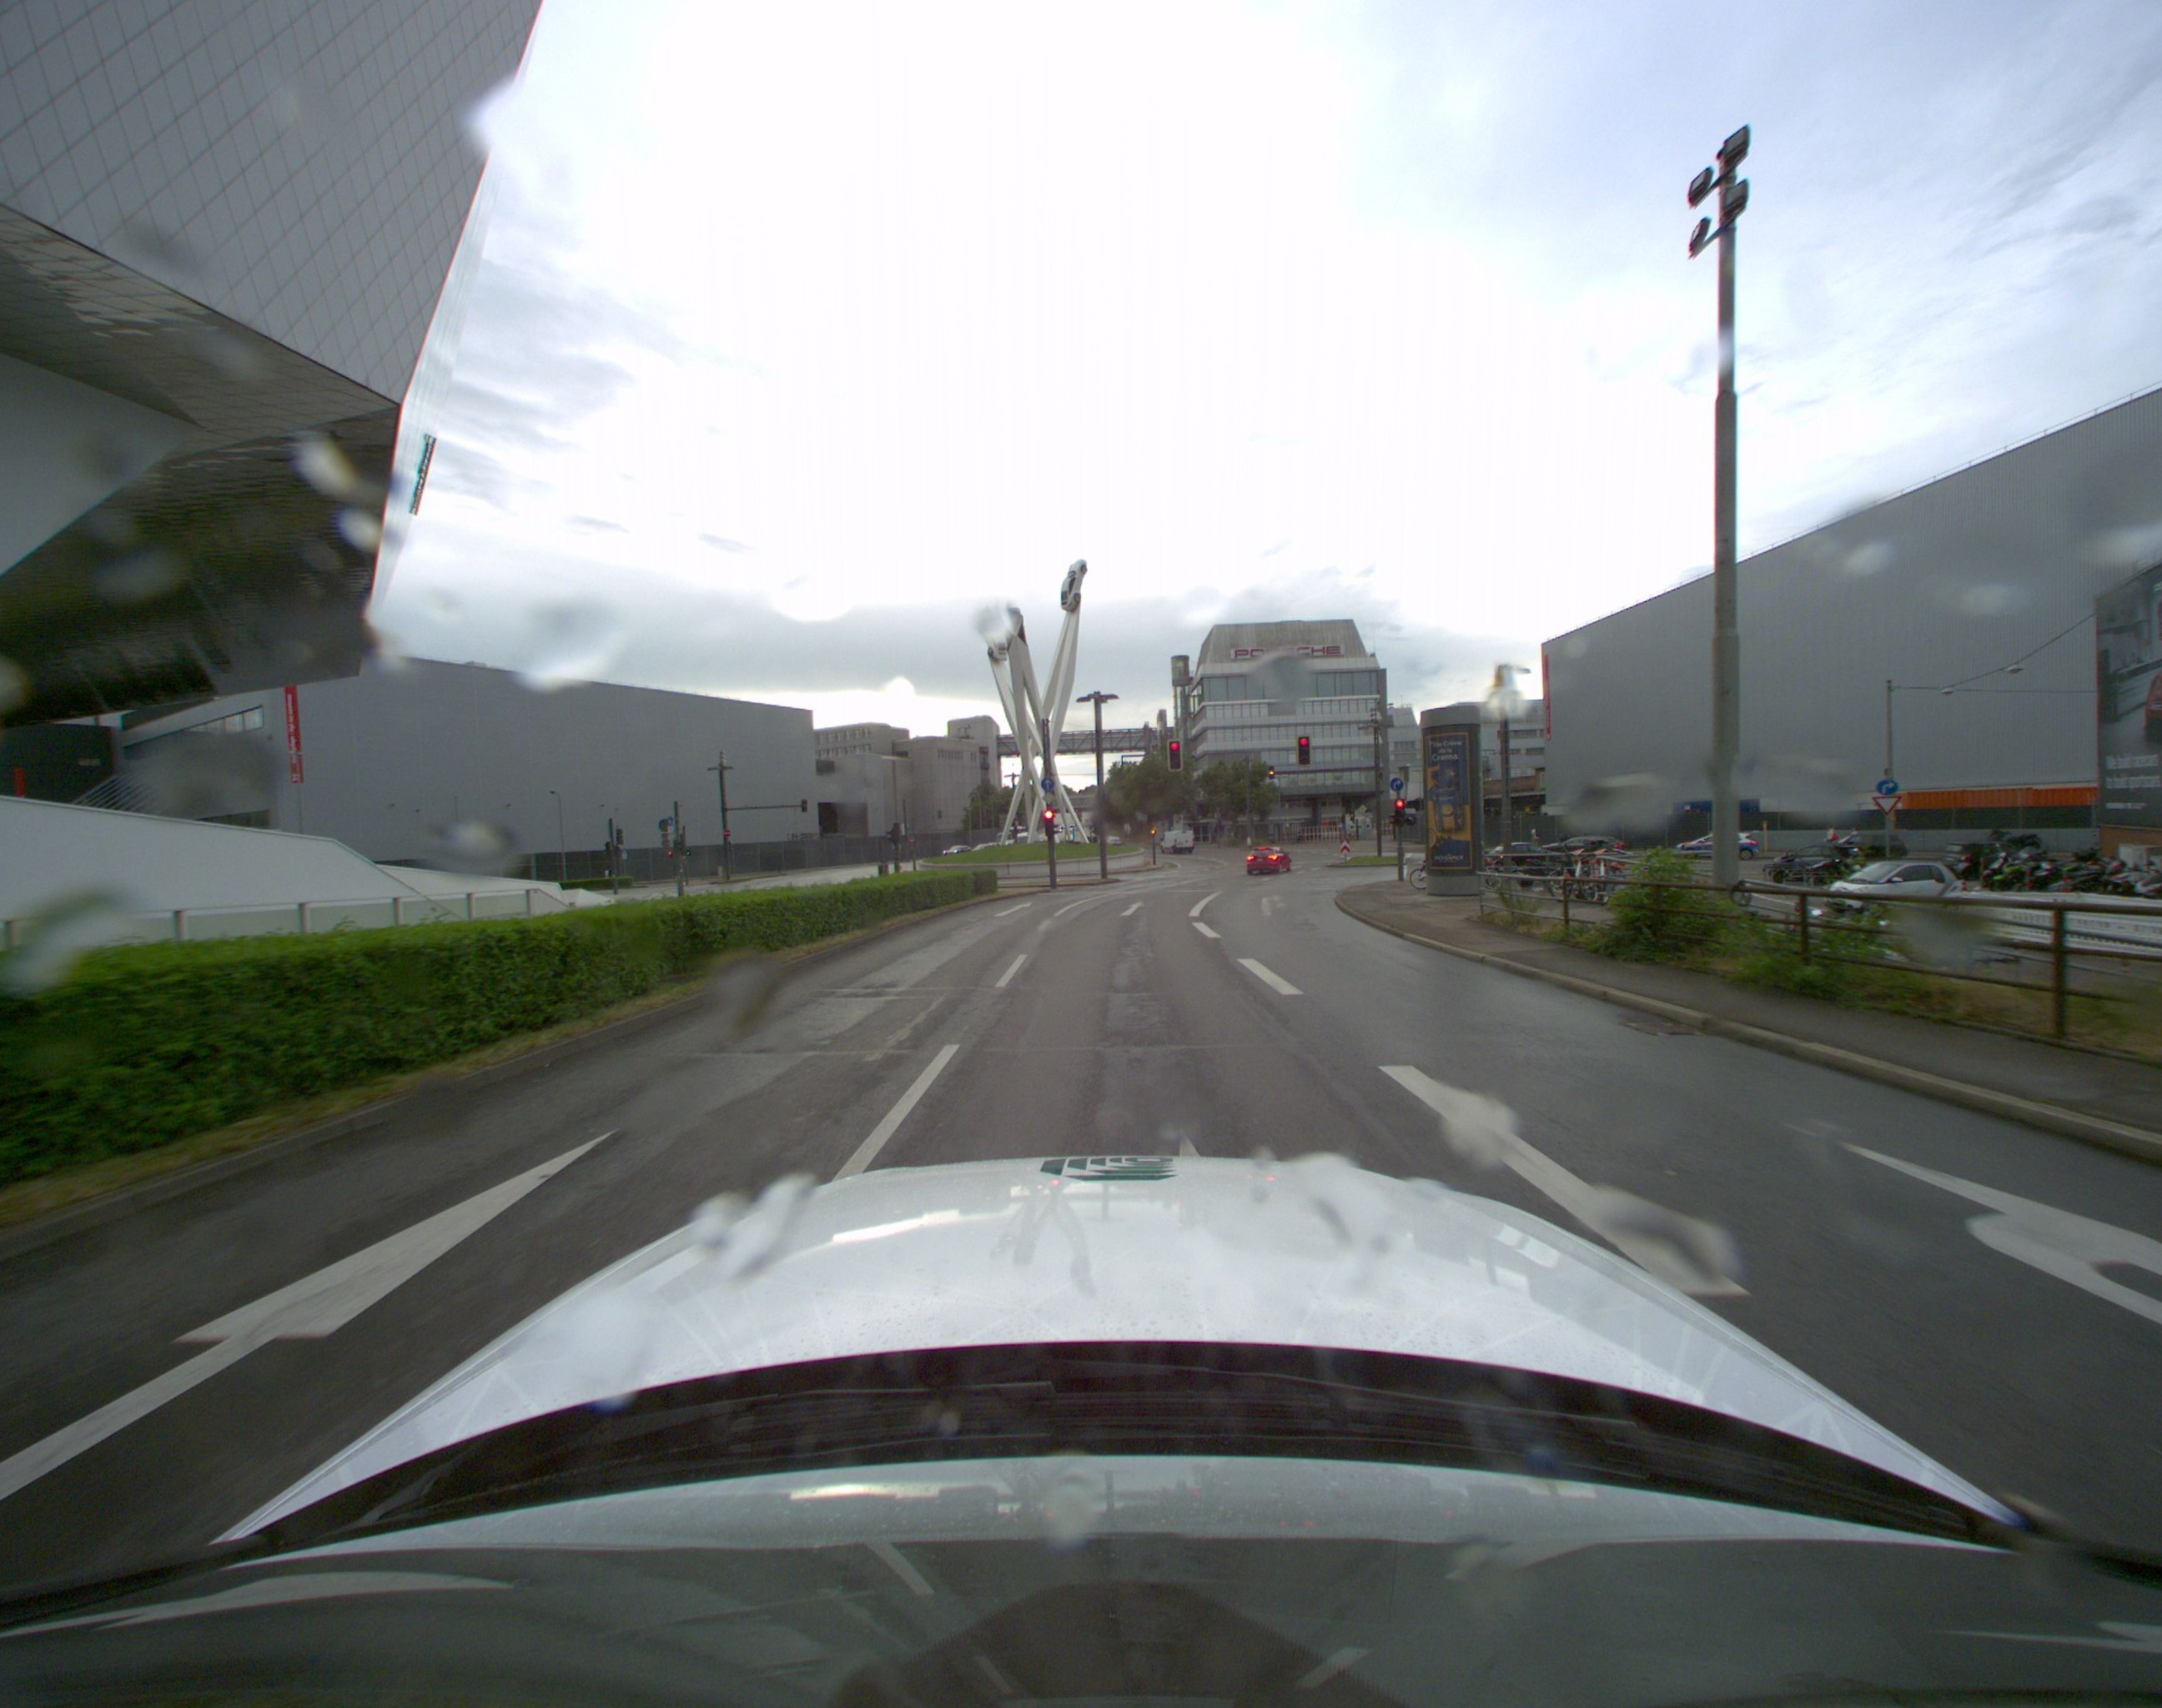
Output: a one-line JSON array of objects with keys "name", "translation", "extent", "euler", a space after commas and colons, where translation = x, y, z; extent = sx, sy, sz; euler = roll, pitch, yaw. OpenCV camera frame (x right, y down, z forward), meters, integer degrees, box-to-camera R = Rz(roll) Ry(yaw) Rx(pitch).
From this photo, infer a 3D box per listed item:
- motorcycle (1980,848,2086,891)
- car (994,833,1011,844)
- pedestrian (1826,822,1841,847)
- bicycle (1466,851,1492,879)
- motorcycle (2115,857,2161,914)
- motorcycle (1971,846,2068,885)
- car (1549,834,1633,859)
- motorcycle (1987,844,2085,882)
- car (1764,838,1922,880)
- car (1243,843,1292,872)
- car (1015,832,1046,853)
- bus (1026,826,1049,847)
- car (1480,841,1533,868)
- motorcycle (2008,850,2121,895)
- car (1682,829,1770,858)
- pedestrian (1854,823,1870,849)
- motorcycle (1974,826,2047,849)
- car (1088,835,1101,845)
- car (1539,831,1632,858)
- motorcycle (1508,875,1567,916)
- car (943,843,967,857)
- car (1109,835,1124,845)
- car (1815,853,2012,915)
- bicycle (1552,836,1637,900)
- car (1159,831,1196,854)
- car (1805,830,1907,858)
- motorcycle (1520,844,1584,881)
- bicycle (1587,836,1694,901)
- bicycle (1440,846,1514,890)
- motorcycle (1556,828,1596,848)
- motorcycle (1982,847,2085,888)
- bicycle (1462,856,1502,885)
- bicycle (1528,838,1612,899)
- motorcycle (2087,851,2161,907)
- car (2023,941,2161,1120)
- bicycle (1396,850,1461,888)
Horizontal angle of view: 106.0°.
[{"name": "motorcycle", "translation": [29.046, 0.487, 24.896], "extent": [1.997, 1.190, 0.613], "euler": [-3, 2, 43]}, {"name": "car", "translation": [-11.472, -2.269, 119.119], "extent": [1.825, 1.472, 4.518], "euler": [-2, 1, 3]}, {"name": "pedestrian", "translation": [44.779, -1.178, 48.470], "extent": [0.426, 1.481, 0.606], "euler": [-2, 1, -41]}, {"name": "bicycle", "translation": [16.736, 0.445, 34.256], "extent": [1.761, 1.097, 0.381], "euler": [-2, 0, -44]}, {"name": "motorcycle", "translation": [26.703, 0.733, 19.822], "extent": [1.850, 1.309, 0.576], "euler": [-4, 1, 19]}, {"name": "motorcycle", "translation": [30.752, 0.398, 26.733], "extent": [0.613, 1.190, 1.997], "euler": [-6, 2, -45]}, {"name": "car", "translation": [32.461, -0.487, 51.904], "extent": [4.245, 1.539, 1.768], "euler": [1, 3, 43]}, {"name": "motorcycle", "translation": [31.791, 0.286, 27.142], "extent": [0.610, 1.190, 2.008], "euler": [-5, 2, -22]}, {"name": "car", "translation": [29.584, 0.161, 31.765], "extent": [1.837, 1.530, 4.136], "euler": [0, 0, -21]}, {"name": "car", "translation": [9.947, 0.167, 43.236], "extent": [1.756, 1.464, 3.754], "euler": [-2, 0, 24]}, {"name": "car", "translation": [-6.285, -1.482, 101.681], "extent": [1.978, 2.447, 5.450], "euler": [-2, 1, 16]}, {"name": "bus", "translation": [-7.007, -2.800, 132.298], "extent": [2.659, 3.200, 12.675], "euler": [-2, 1, 2]}, {"name": "car", "translation": [21.798, 0.014, 41.836], "extent": [1.599, 1.291, 3.579], "euler": [-2, 0, 14]}, {"name": "motorcycle", "translation": [28.758, 0.541, 23.860], "extent": [1.996, 1.190, 0.614], "euler": [-4, 2, 33]}, {"name": "car", "translation": [37.884, -0.641, 47.888], "extent": [3.931, 1.601, 1.923], "euler": [0, 2, 43]}, {"name": "pedestrian", "translation": [45.285, -1.030, 47.224], "extent": [0.441, 1.481, 0.642], "euler": [-2, 1, -43]}, {"name": "motorcycle", "translation": [50.856, -0.890, 44.601], "extent": [2.461, 1.186, 1.006], "euler": [-1, 1, 38]}, {"name": "car", "translation": [1.827, -1.915, 113.462], "extent": [1.554, 1.288, 3.409], "euler": [-2, 0, -3]}, {"name": "car", "translation": [30.362, -0.592, 49.082], "extent": [4.527, 1.539, 1.768], "euler": [1, 3, 43]}, {"name": "motorcycle", "translation": [12.643, 1.124, 22.621], "extent": [0.694, 0.990, 1.752], "euler": [-2, 1, 3]}, {"name": "car", "translation": [-15.094, -0.493, 97.751], "extent": [1.825, 1.472, 4.518], "euler": [-2, 1, 3]}, {"name": "car", "translation": [4.879, -1.901, 111.808], "extent": [1.663, 1.301, 3.882], "euler": [-2, 0, -2]}, {"name": "car", "translation": [23.196, 0.834, 22.828], "extent": [3.525, 1.481, 1.700], "euler": [-2, 3, 13]}, {"name": "bicycle", "translation": [10.744, 0.281, 17.017], "extent": [1.938, 1.224, 0.594], "euler": [-2, 0, -29]}, {"name": "car", "translation": [9.669, -1.157, 81.738], "extent": [2.234, 2.108, 4.935], "euler": [-2, -1, -11]}, {"name": "car", "translation": [42.019, -0.549, 44.234], "extent": [3.950, 1.392, 1.768], "euler": [1, 3, 43]}, {"name": "motorcycle", "translation": [19.410, 0.344, 33.634], "extent": [2.208, 1.452, 0.761], "euler": [-1, 0, 24]}, {"name": "bicycle", "translation": [11.111, 0.279, 16.171], "extent": [1.929, 1.178, 0.596], "euler": [-3, 0, -15]}, {"name": "bicycle", "translation": [11.380, 0.394, 23.427], "extent": [1.792, 1.161, 0.592], "euler": [-3, -1, 4]}, {"name": "motorcycle", "translation": [35.010, -1.094, 57.613], "extent": [2.330, 1.344, 0.657], "euler": [-1, 1, 42]}, {"name": "motorcycle", "translation": [30.047, 0.434, 25.736], "extent": [1.997, 1.190, 0.613], "euler": [-3, 2, 43]}, {"name": "bicycle", "translation": [13.143, 0.530, 26.734], "extent": [0.687, 0.905, 2.182], "euler": [-2, 0, 13]}, {"name": "bicycle", "translation": [10.676, 0.298, 17.774], "extent": [1.937, 1.224, 0.594], "euler": [-2, 0, -27]}, {"name": "motorcycle", "translation": [27.612, 0.630, 21.030], "extent": [2.001, 1.309, 0.691], "euler": [-4, 1, 15]}, {"name": "car", "translation": [11.263, 1.776, 7.096], "extent": [1.692, 1.555, 3.858], "euler": [-2, 1, 1]}, {"name": "bicycle", "translation": [11.138, 0.484, 26.162], "extent": [1.759, 1.140, 0.680], "euler": [-2, -1, 8]}]
